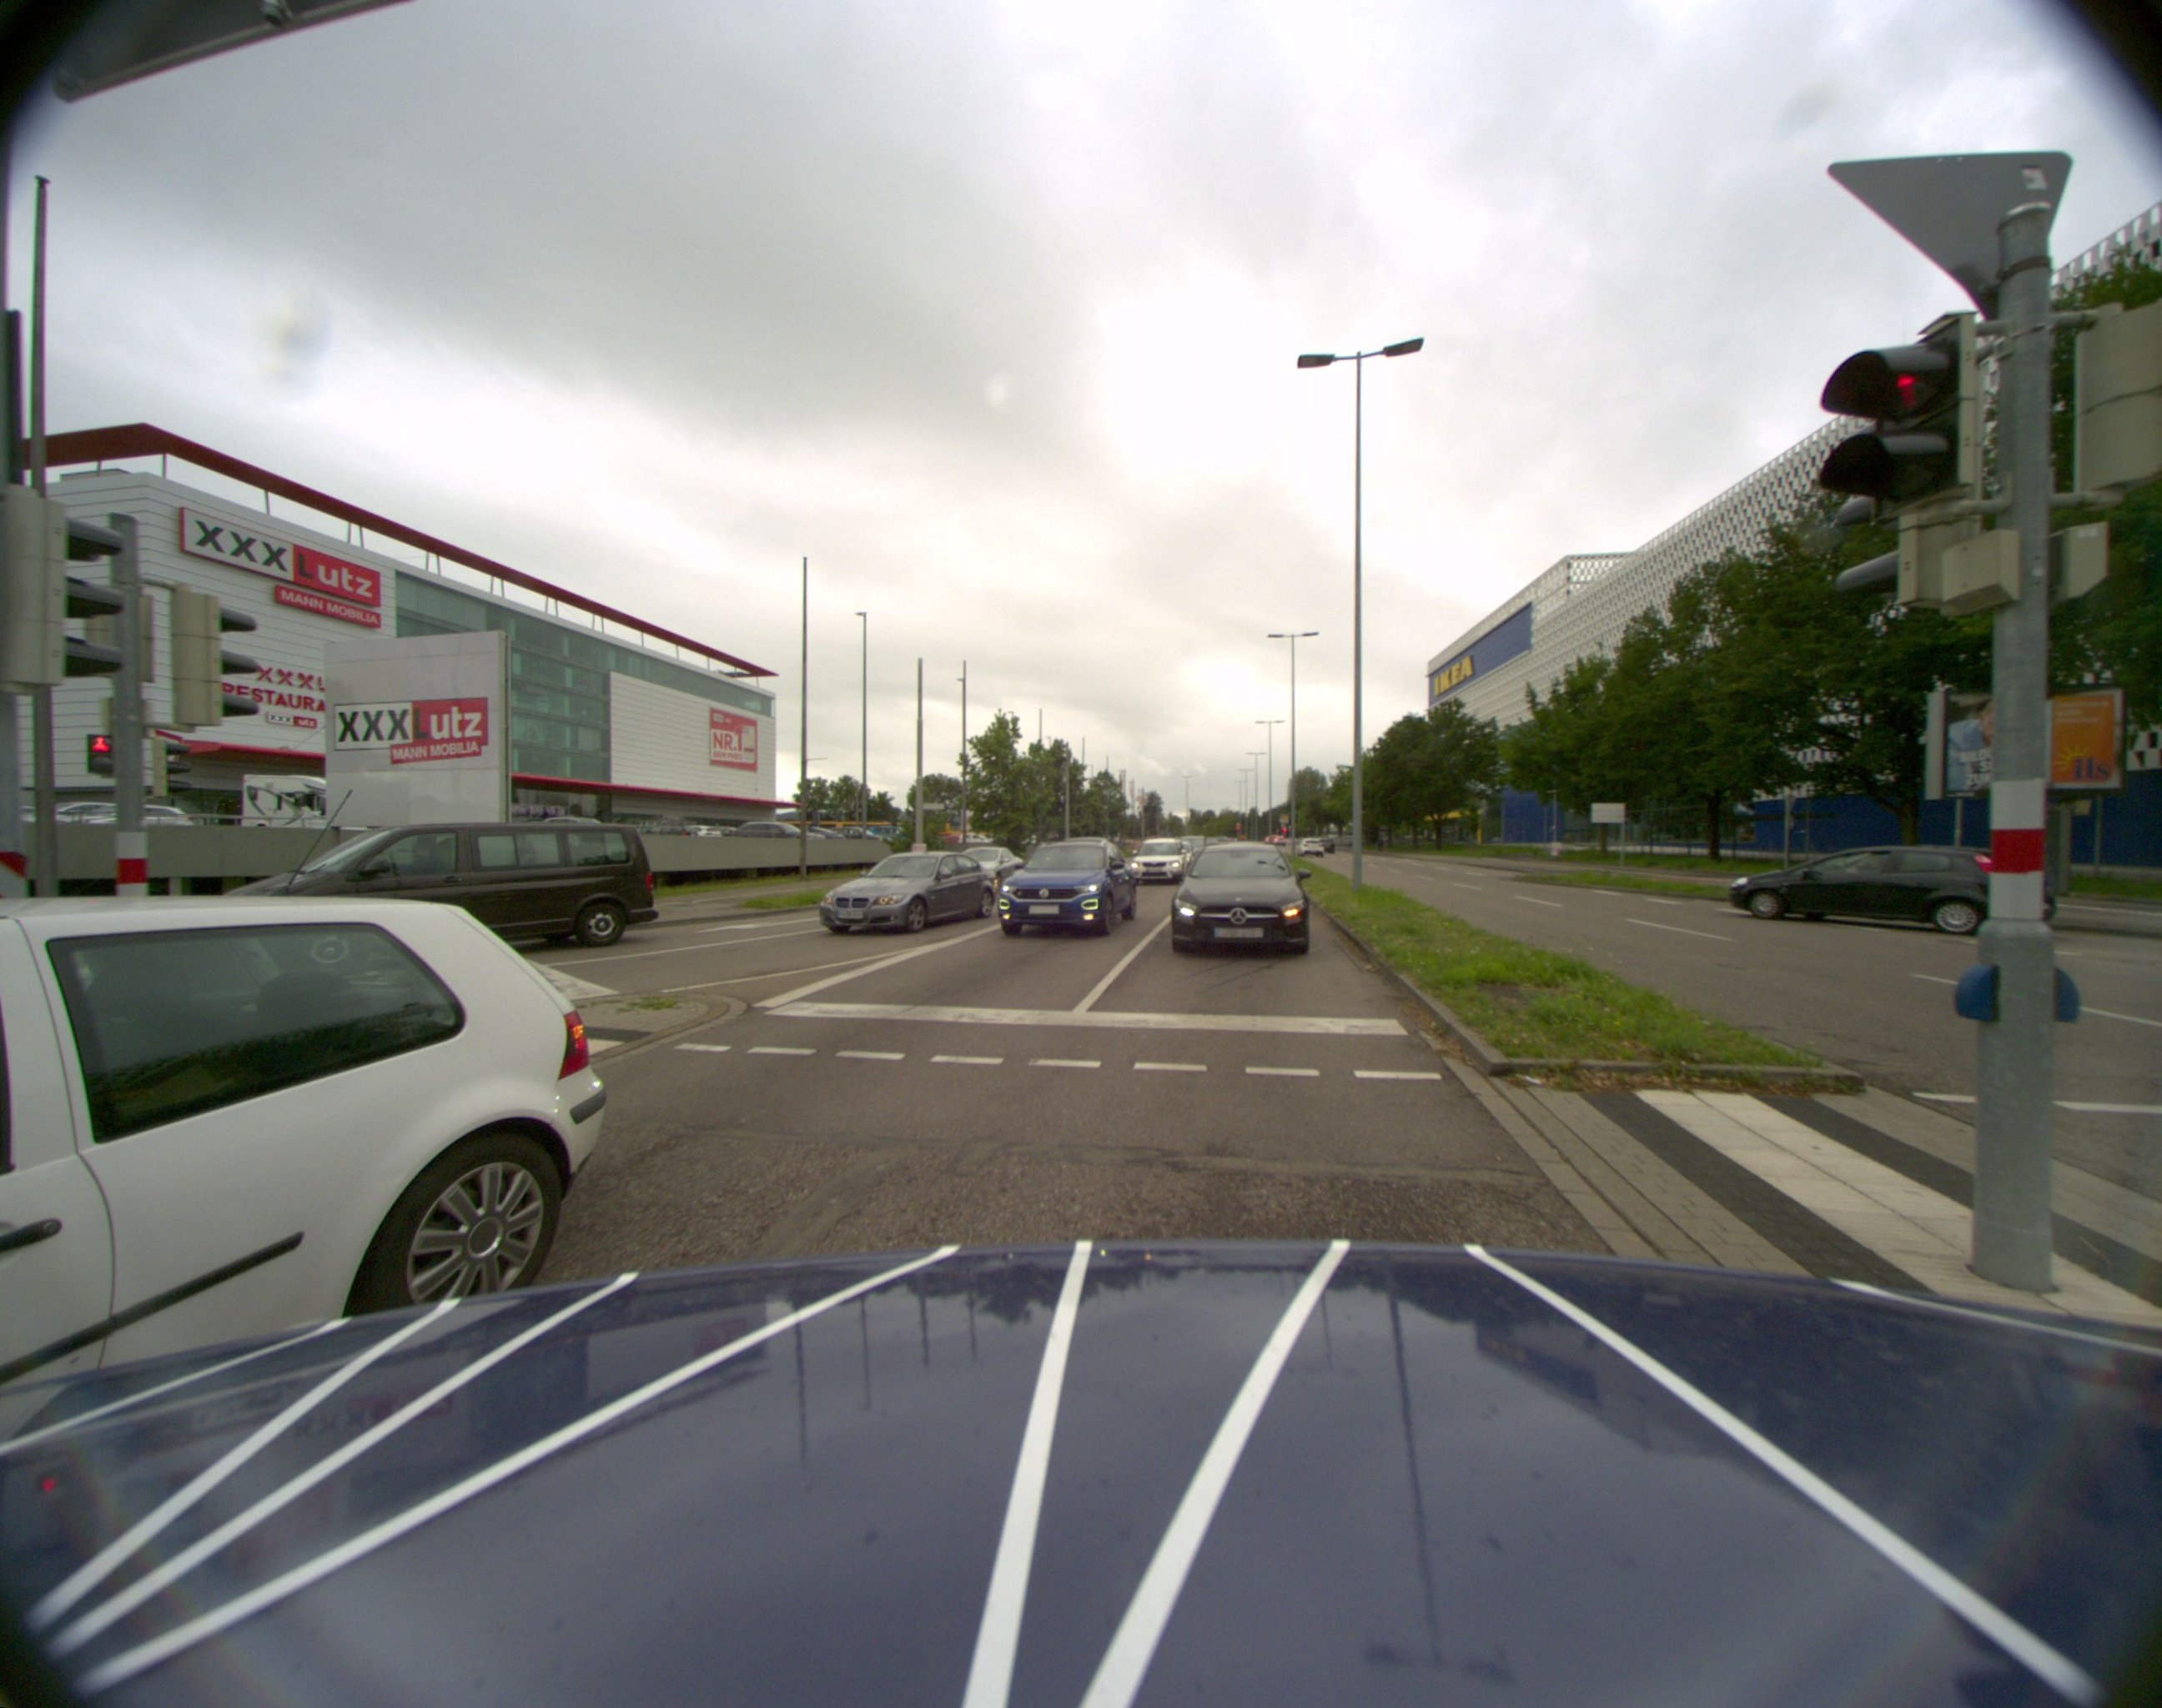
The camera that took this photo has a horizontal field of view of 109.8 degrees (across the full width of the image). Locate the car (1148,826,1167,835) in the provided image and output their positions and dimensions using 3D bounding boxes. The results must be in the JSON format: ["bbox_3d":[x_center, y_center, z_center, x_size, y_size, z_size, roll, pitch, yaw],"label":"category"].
[{"bbox_3d":[19.832,-6.111,197.501,4.667,2.003,1.999,-2,2,1],"label":"car"}]

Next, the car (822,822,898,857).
[{"bbox_3d":[-13.688,-0.935,47.247,3.994,2.003,2.001,-2,2,9],"label":"car"}]

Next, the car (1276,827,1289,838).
[{"bbox_3d":[34.707,-3.708,130.967,1.845,1.876,3.926,-2,2,10],"label":"car"}]

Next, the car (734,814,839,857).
[{"bbox_3d":[-15.079,-0.969,39.048,4.525,2.003,2.000,-2,2,9],"label":"car"}]

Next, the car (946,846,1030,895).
[{"bbox_3d":[-3.058,0.492,25.713,1.692,1.364,3.928,-1,2,10],"label":"car"}]

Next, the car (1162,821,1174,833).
[{"bbox_3d":[15.885,-4.921,139.267,1.997,2.230,4.002,0,2,9],"label":"car"}]

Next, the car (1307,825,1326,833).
[{"bbox_3d":[57.014,-6.067,183.995,3.994,2.003,2.001,-2,2,9],"label":"car"}]

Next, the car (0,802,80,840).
[{"bbox_3d":[-49.551,-1.477,34.662,1.774,1.666,4.262,-1,2,12],"label":"car"}]

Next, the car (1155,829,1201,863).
[{"bbox_3d":[4.617,-0.409,35.669,1.800,1.408,4.221,-1,2,12],"label":"car"}]

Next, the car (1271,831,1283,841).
[{"bbox_3d":[37.084,-3.471,143.909,1.845,1.709,3.926,-2,2,10],"label":"car"}]

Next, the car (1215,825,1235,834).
[{"bbox_3d":[36.487,-6.154,192.571,4.664,2.003,2.001,-2,2,9],"label":"car"}]

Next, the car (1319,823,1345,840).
[{"bbox_3d":[26.071,-2.328,79.182,1.845,1.646,4.362,2,3,9],"label":"car"}]

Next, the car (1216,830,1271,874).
[{"bbox_3d":[5.891,-0.128,27.598,1.765,1.371,4.261,-1,2,12],"label":"car"}]

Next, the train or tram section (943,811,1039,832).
[{"bbox_3d":[-22.081,-7.962,187.312,23.253,4.812,3.633,-1,3,8],"label":"train or tram section"}]

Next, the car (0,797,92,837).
[{"bbox_3d":[-46.876,-1.584,33.040,1.774,1.666,4.262,-1,2,12],"label":"car"}]

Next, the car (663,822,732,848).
[{"bbox_3d":[-27.711,-1.401,54.960,3.994,1.729,2.001,-2,2,9],"label":"car"}]

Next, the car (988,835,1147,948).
[{"bbox_3d":[-0.043,0.532,13.686,1.845,1.613,4.334,-1,2,13],"label":"car"}]

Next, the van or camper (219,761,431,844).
[{"bbox_3d":[-32.156,-2.129,32.416,7.224,3.118,2.716,-1,2,12],"label":"van or camper"}]

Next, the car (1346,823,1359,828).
[{"bbox_3d":[87.751,-9.293,245.765,3.562,1.631,1.744,-2,2,8],"label":"car"}]

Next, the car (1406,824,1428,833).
[{"bbox_3d":[74.017,-5.657,167.574,3.996,1.806,2.000,-2,2,4],"label":"car"}]

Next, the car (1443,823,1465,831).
[{"bbox_3d":[81.936,-5.925,166.970,3.996,1.806,2.000,-2,2,4],"label":"car"}]

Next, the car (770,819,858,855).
[{"bbox_3d":[-14.733,-0.949,42.025,3.994,1.839,2.000,-2,2,9],"label":"car"}]

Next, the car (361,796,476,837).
[{"bbox_3d":[-35.539,-1.998,40.913,1.997,2.002,4.183,-1,2,12],"label":"car"}]

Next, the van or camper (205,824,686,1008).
[{"bbox_3d":[-8.912,0.634,11.207,2.158,2.003,4.951,0,3,35],"label":"van or camper"}]

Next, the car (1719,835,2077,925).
[{"bbox_3d":[14.333,0.358,13.662,1.729,1.364,3.991,0,1,-23],"label":"car"}]

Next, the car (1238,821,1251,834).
[{"bbox_3d":[28.925,-4.718,134.696,1.997,2.207,4.002,0,2,9],"label":"car"}]

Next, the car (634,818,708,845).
[{"bbox_3d":[-28.193,-1.551,52.319,3.994,1.729,2.001,-2,2,9],"label":"car"}]

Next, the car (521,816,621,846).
[{"bbox_3d":[-26.352,-1.200,39.337,3.988,1.429,1.870,-2,2,8],"label":"car"}]

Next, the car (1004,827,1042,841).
[{"bbox_3d":[-6.680,-2.324,88.332,3.993,1.557,1.797,-1,2,12],"label":"car"}]

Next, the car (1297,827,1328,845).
[{"bbox_3d":[18.578,-1.466,61.136,1.784,1.444,3.934,1,2,9],"label":"car"}]

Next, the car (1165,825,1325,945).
[{"bbox_3d":[2.400,0.342,11.253,1.857,1.426,4.199,-1,1,12],"label":"car"}]

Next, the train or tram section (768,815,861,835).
[{"bbox_3d":[-68.049,-7.376,193.823,23.253,4.812,3.633,-1,3,8],"label":"train or tram section"}]

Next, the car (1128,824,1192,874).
[{"bbox_3d":[2.974,-0.236,27.699,1.797,1.616,4.377,-1,2,13],"label":"car"}]

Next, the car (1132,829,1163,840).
[{"bbox_3d":[9.460,-2.743,107.535,4.212,1.408,1.803,-1,2,11],"label":"car"}]

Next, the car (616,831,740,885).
[{"bbox_3d":[-16.496,0.151,31.216,3.994,2.003,2.001,-1,2,10],"label":"car"}]

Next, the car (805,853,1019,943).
[{"bbox_3d":[-3.041,0.726,14.960,1.814,1.403,4.884,-1,0,19],"label":"car"}]

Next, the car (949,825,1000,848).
[{"bbox_3d":[-10.060,-1.678,72.153,4.320,2.003,2.001,-2,2,9],"label":"car"}]

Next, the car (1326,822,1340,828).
[{"bbox_3d":[81.684,-9.481,246.347,4.287,1.814,1.744,-2,2,8],"label":"car"}]

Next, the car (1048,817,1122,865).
[{"bbox_3d":[0.236,-0.525,28.281,1.797,1.616,4.377,-1,2,13],"label":"car"}]

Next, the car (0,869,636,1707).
[{"bbox_3d":[-3.007,0.900,1.113,1.836,1.470,4.006,-2,2,10],"label":"car"}]

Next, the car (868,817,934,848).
[{"bbox_3d":[-12.804,-1.551,54.195,3.994,2.003,2.001,-2,2,9],"label":"car"}]

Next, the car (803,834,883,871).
[{"bbox_3d":[-14.074,-0.096,45.075,3.994,2.003,2.001,-2,2,9],"label":"car"}]

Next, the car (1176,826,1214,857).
[{"bbox_3d":[6.422,-0.759,42.436,1.800,1.565,4.221,-1,2,12],"label":"car"}]

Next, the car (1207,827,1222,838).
[{"bbox_3d":[17.939,-2.922,101.849,1.800,1.408,4.221,-1,2,12],"label":"car"}]

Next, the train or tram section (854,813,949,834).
[{"bbox_3d":[-45.009,-7.671,190.594,23.253,4.812,3.633,-1,3,8],"label":"train or tram section"}]
